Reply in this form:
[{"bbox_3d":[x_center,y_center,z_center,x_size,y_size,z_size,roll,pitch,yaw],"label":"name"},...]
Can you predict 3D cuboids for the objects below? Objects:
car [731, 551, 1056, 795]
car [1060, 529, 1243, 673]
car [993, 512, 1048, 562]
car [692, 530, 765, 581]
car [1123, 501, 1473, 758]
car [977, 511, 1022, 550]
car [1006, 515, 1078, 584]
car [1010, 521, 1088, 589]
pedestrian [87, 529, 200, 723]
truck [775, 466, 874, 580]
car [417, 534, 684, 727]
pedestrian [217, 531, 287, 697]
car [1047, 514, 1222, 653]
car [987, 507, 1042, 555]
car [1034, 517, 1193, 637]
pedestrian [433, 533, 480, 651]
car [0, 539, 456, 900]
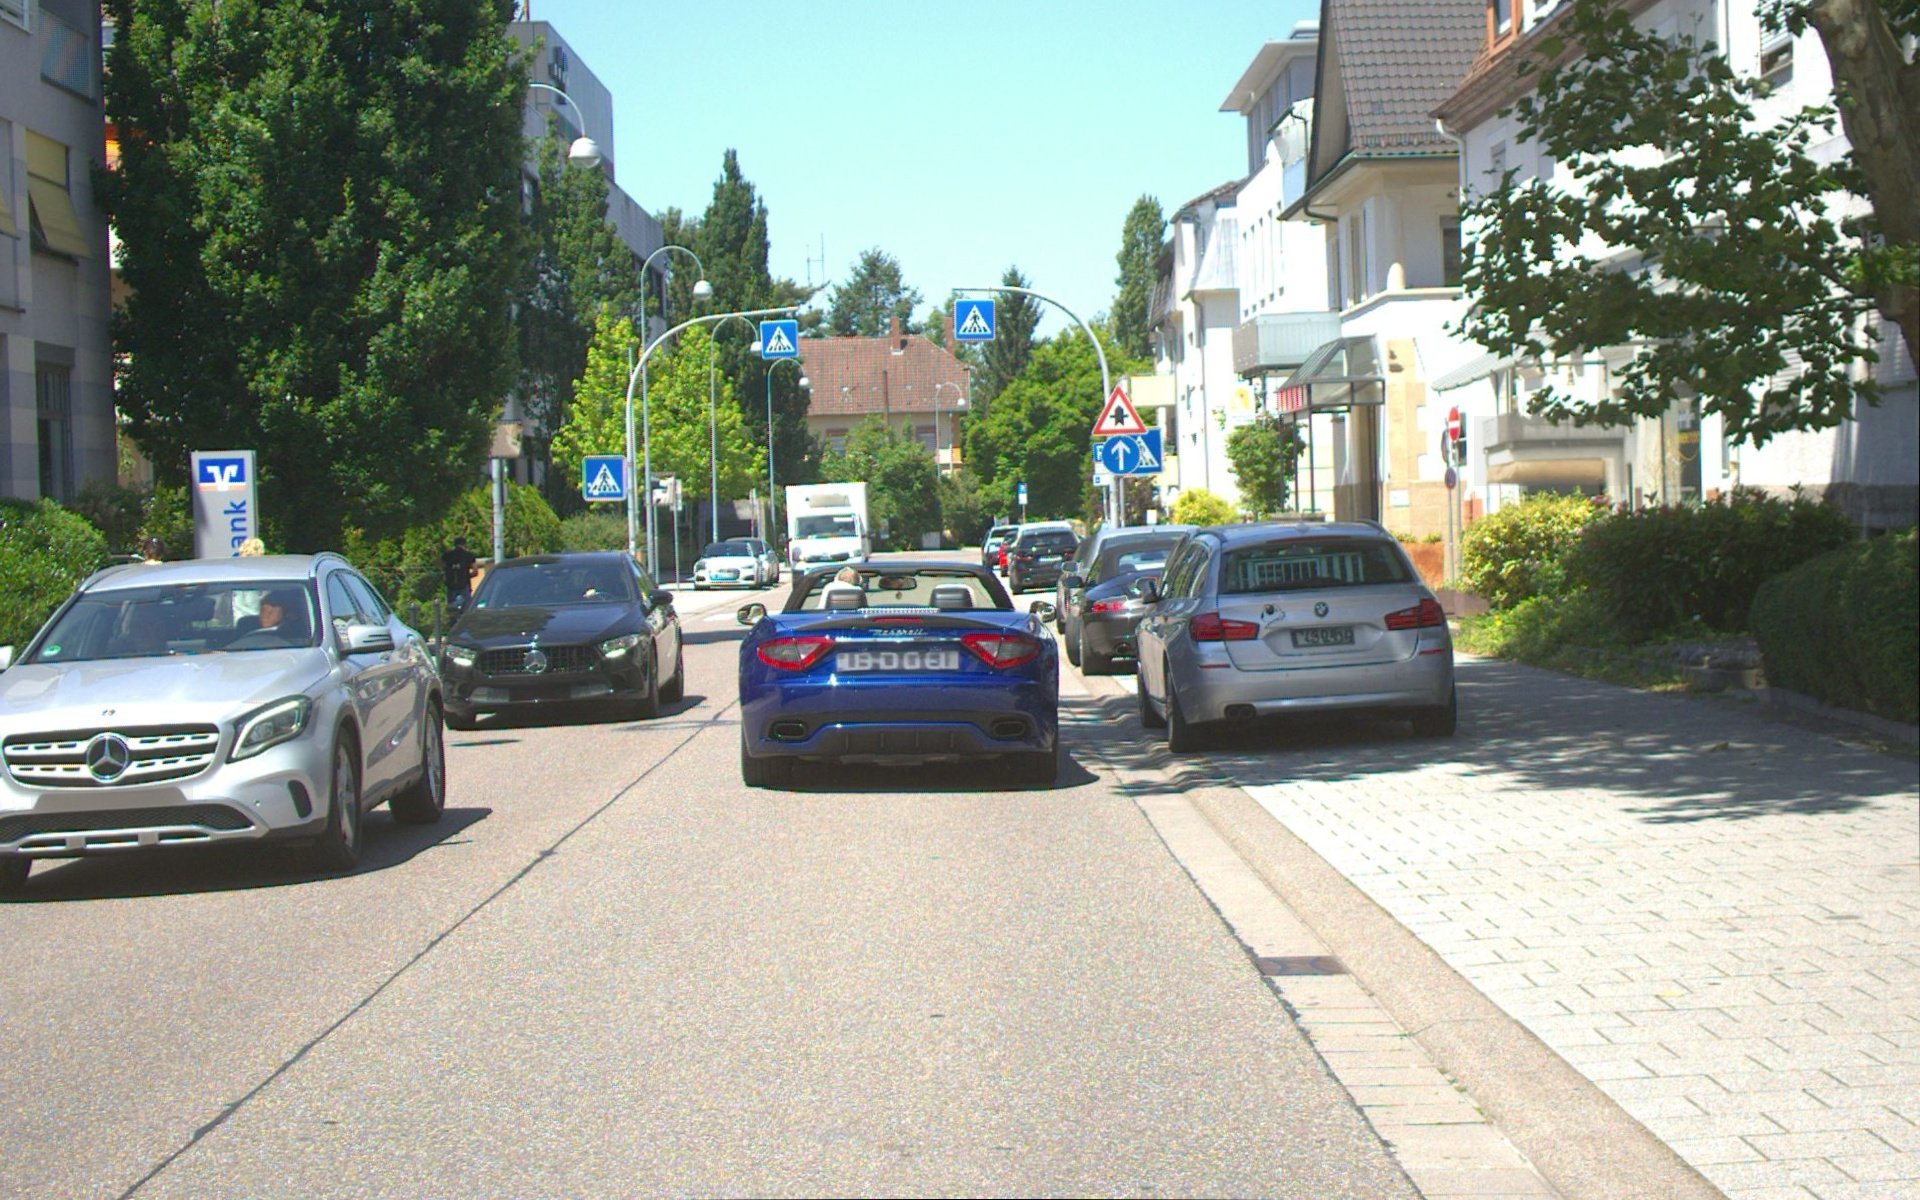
[{"bbox_3d":[-0.387,0.381,21.864,1.826,1.332,4.700,-1,1,0],"label":"car"},{"bbox_3d":[1.942,-0.033,35.863,1.558,1.336,4.174,-3,1,-1],"label":"car"},{"bbox_3d":[1.913,-1.997,108.604,1.603,1.436,3.853,-5,1,1],"label":"car"},{"bbox_3d":[-6.782,-1.327,101.212,1.822,1.406,4.578,-1,1,0],"label":"car"},{"bbox_3d":[2.218,0.133,23.804,1.829,1.506,4.760,-3,1,-1],"label":"car"},{"bbox_3d":[1.599,-2.848,140.273,1.631,1.441,4.398,-4,2,0],"label":"car"},{"bbox_3d":[2.055,-1.298,86.935,1.705,1.660,4.580,0,2,0],"label":"car"},{"bbox_3d":[2.069,-1.048,80.969,1.705,1.551,4.748,0,0,0],"label":"car"},{"bbox_3d":[-7.218,0.218,30.427,0.748,1.639,0.848,-2,3,-1],"label":"pedestrian"},{"bbox_3d":[-3.733,-2.154,96.056,2.420,2.973,6.258,-2,1,0],"label":"truck"},{"bbox_3d":[-3.531,0.210,30.333,1.829,1.506,4.263,-2,1,-1],"label":"car"},{"bbox_3d":[-7.304,0.139,35.477,0.536,1.679,0.708,-1,1,0],"label":"pedestrian"},{"bbox_3d":[2.045,-0.233,41.482,1.744,1.463,4.852,-4,1,0],"label":"car"},{"bbox_3d":[1.974,-2.535,125.676,1.843,1.614,4.427,-4,1,0],"label":"car"},{"bbox_3d":[2.015,-0.340,46.297,1.827,1.422,4.700,-4,1,0],"label":"car"},{"bbox_3d":[-7.229,-0.120,49.394,0.536,1.679,0.708,-1,1,0],"label":"pedestrian"},{"bbox_3d":[-3.715,0.493,17.010,1.829,1.506,4.032,-2,1,-1],"label":"car"}]
